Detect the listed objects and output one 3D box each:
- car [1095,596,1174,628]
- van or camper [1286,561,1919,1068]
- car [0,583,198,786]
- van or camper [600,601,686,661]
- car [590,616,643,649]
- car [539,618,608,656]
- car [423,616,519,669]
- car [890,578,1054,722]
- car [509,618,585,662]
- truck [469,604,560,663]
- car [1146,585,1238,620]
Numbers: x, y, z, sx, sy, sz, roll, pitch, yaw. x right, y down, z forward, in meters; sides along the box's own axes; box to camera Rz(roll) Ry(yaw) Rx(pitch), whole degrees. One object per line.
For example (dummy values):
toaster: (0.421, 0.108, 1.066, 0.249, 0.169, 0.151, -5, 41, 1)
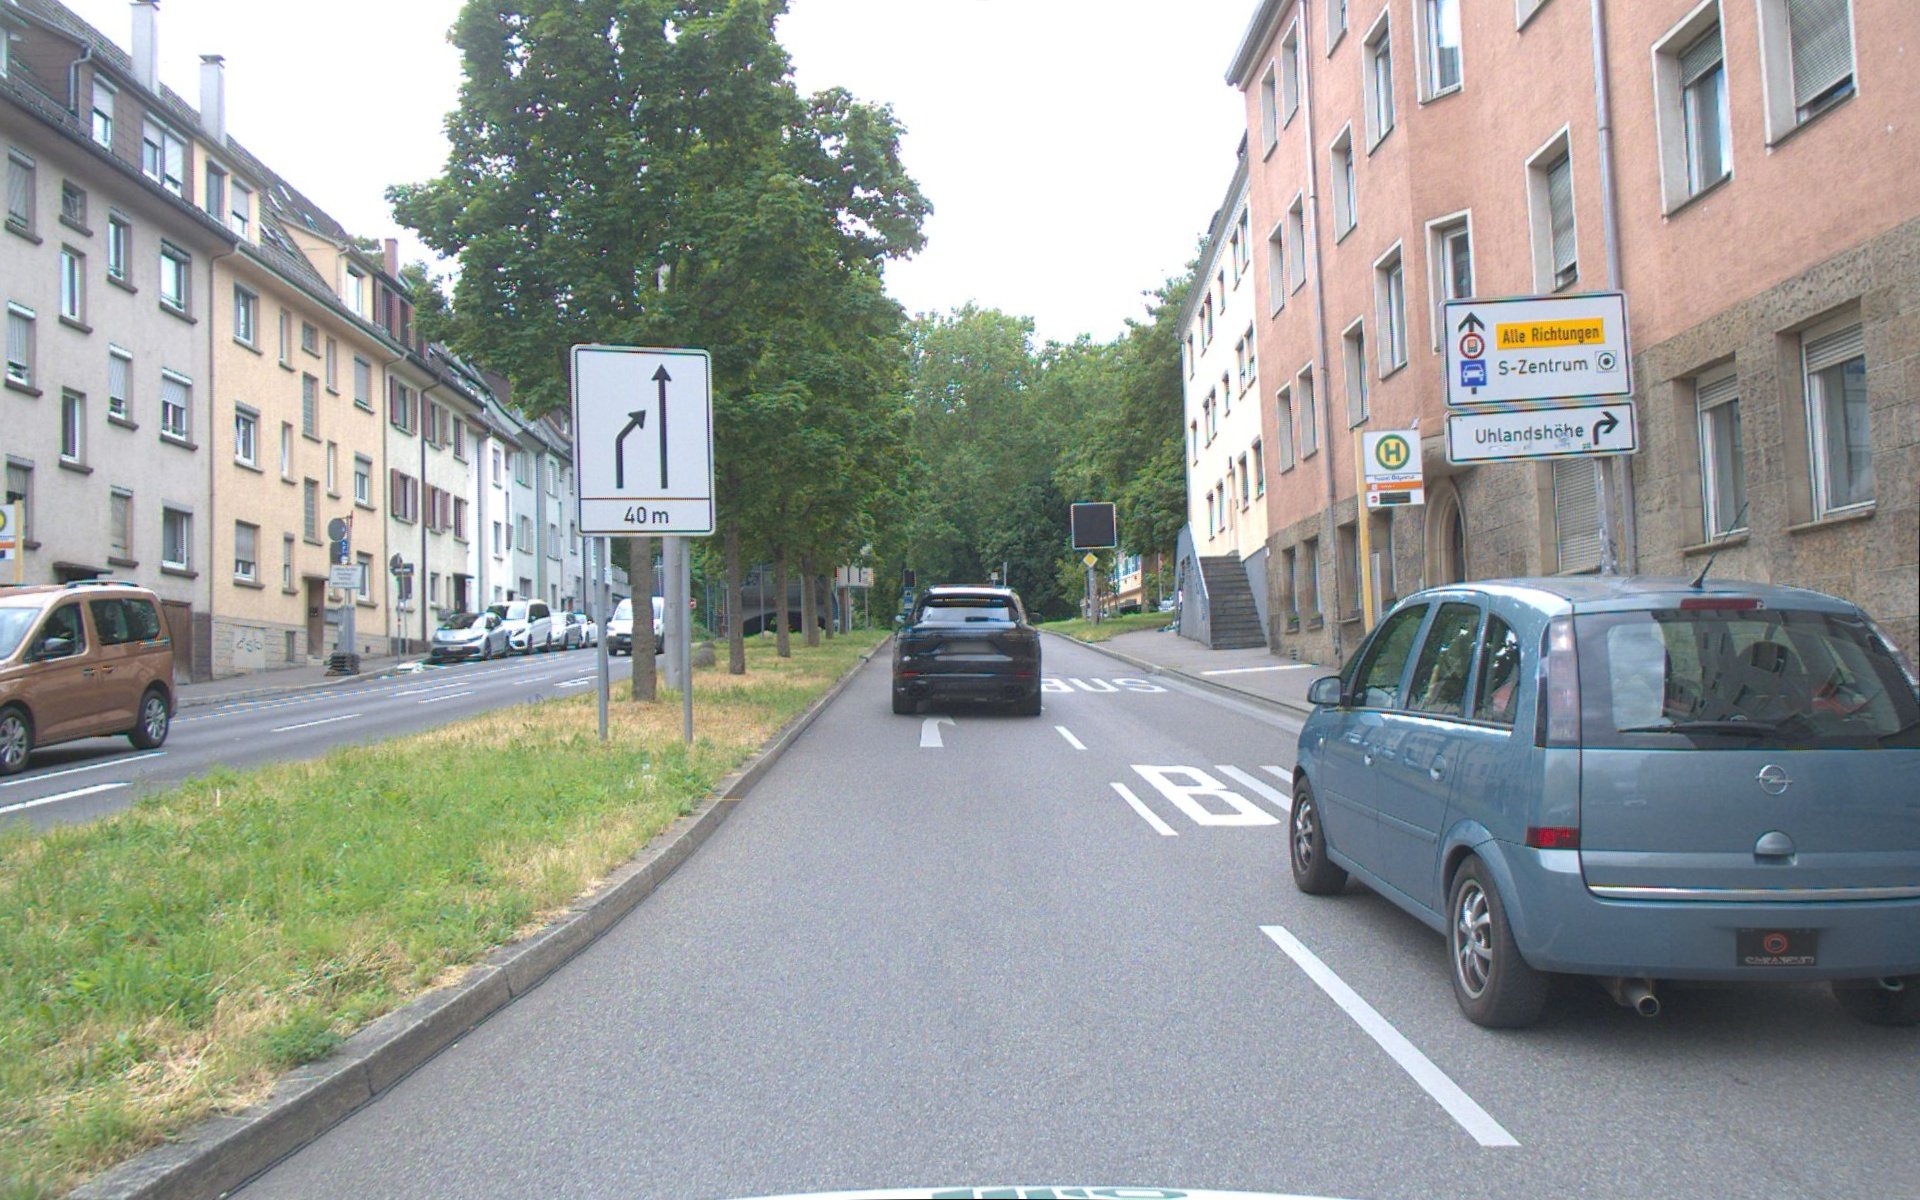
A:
car: (8.936, 0.585, 84.507, 1.965, 1.442, 3.974, -3, -1, 43)
van or camper: (2.643, 0.689, 7.097, 1.700, 1.605, 3.645, 0, 0, -1)
car: (-9.707, 0.777, 16.861, 1.841, 1.847, 4.351, -1, 0, 0)
van or camper: (-10.100, 0.967, 52.988, 1.869, 1.792, 4.654, -2, -1, -1)
car: (-16.546, 1.558, 79.795, 1.955, 1.448, 4.207, -2, -1, -5)
car: (-16.452, 1.551, 70.614, 1.953, 1.500, 4.157, -2, -1, -1)
car: (-15.877, 1.359, 53.901, 1.953, 1.579, 4.156, -2, -1, -2)
car: (0.167, 0.662, 22.453, 1.953, 1.682, 4.000, -3, -1, 0)
car: (-16.241, 1.564, 65.229, 1.953, 1.579, 4.380, -2, -1, -2)
truck: (-16.064, 1.193, 59.915, 1.953, 1.953, 5.344, -2, -1, -2)
car: (11.265, 0.138, 80.242, 4.067, 1.453, 1.847, -3, 0, -26)
